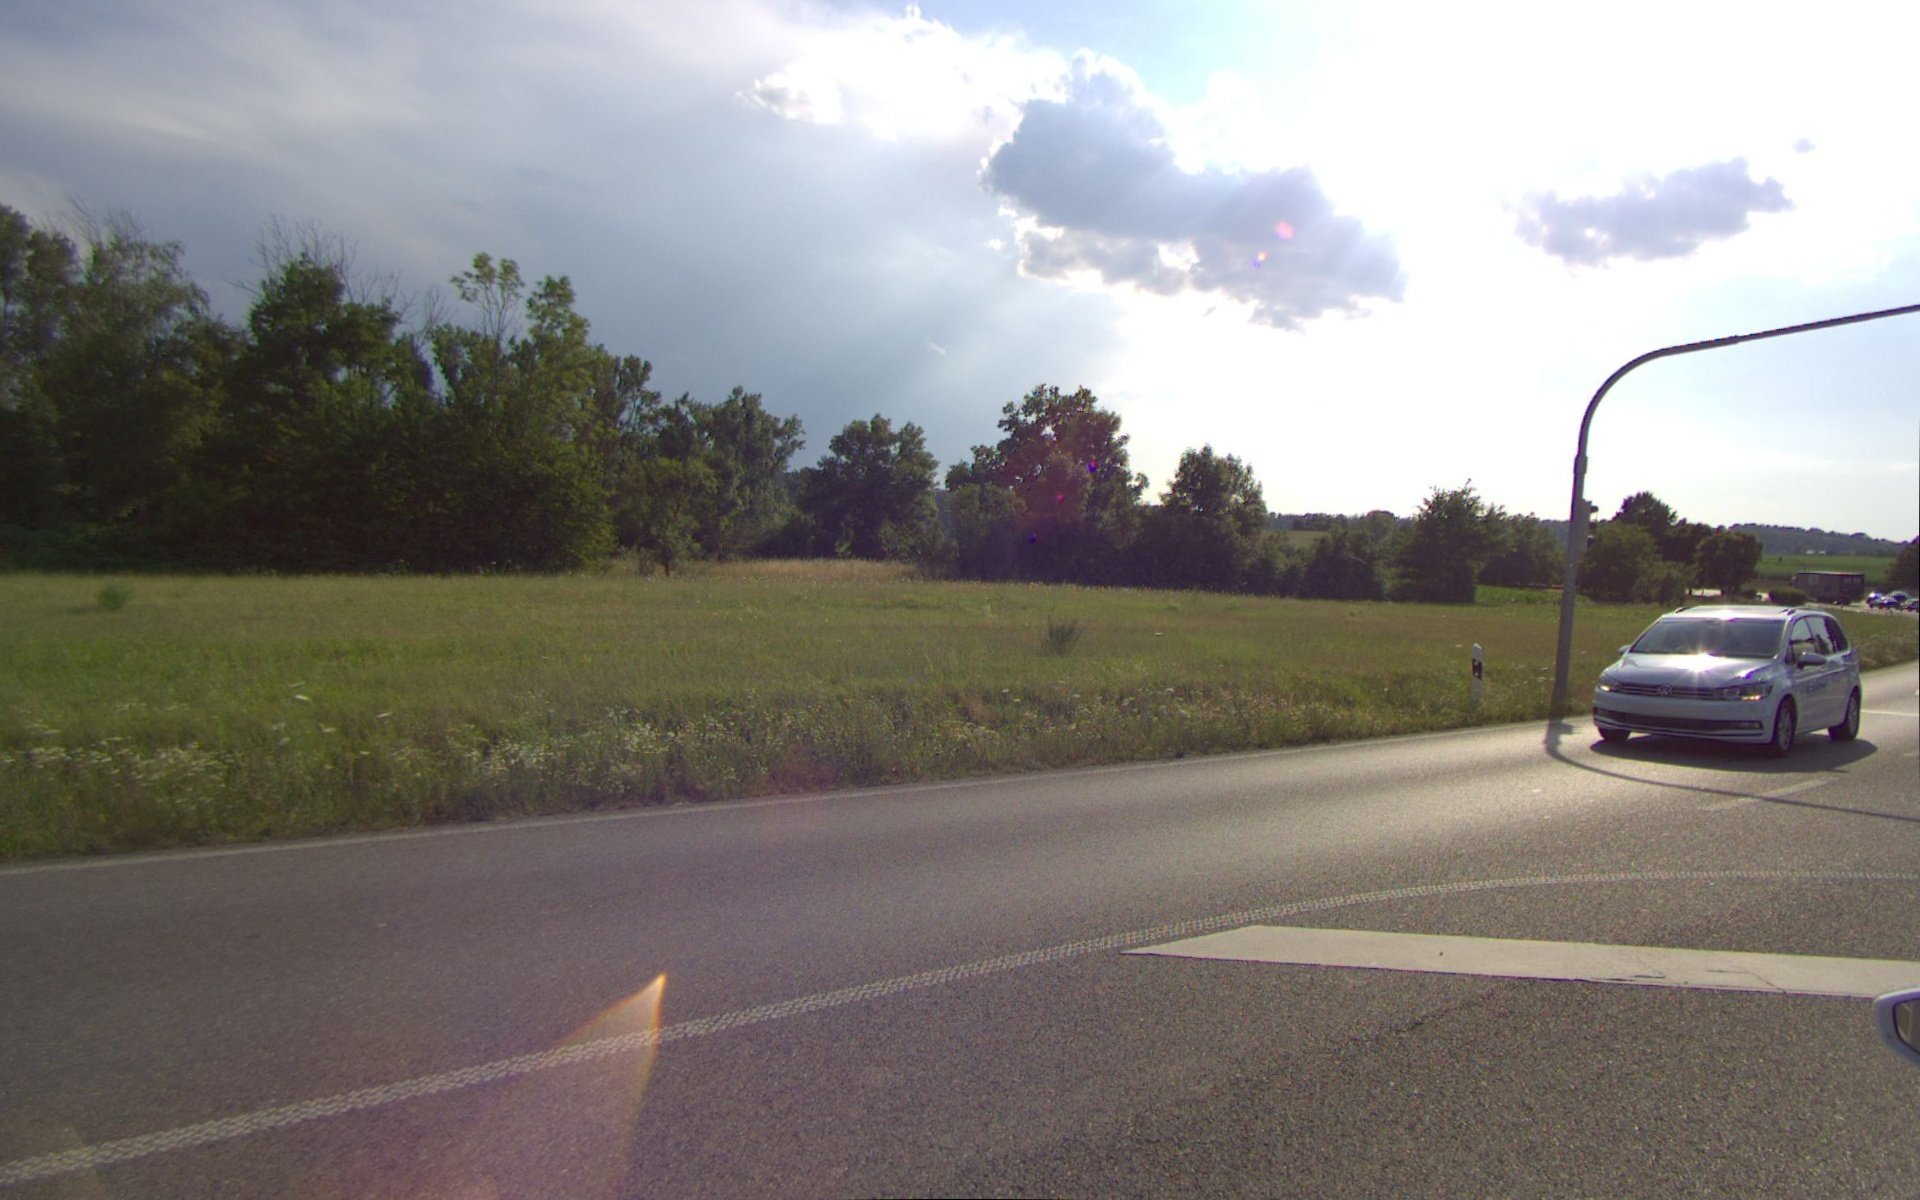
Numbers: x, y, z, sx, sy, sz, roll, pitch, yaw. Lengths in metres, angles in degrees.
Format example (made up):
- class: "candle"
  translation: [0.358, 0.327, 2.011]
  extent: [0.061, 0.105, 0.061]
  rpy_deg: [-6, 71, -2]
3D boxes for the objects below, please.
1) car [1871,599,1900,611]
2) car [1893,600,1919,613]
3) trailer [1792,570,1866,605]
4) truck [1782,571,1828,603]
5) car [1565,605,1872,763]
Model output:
- class: "car"
  translation: [110.317, 0.603, 119.701]
  extent: [1.743, 1.222, 3.419]
  rpy_deg: [3, 2, 29]
- class: "car"
  translation: [107.131, 0.737, 113.573]
  extent: [1.557, 1.359, 3.419]
  rpy_deg: [3, 2, 29]
- class: "trailer"
  translation: [118.150, -1.773, 136.872]
  extent: [3.322, 4.409, 14.281]
  rpy_deg: [3, 2, 24]
- class: "truck"
  translation: [121.505, -1.913, 144.478]
  extent: [3.322, 4.409, 5.701]
  rpy_deg: [3, 2, 24]
- class: "car"
  translation: [9.412, 0.873, 12.356]
  extent: [4.288, 1.607, 1.867]
  rpy_deg: [0, 0, -36]
